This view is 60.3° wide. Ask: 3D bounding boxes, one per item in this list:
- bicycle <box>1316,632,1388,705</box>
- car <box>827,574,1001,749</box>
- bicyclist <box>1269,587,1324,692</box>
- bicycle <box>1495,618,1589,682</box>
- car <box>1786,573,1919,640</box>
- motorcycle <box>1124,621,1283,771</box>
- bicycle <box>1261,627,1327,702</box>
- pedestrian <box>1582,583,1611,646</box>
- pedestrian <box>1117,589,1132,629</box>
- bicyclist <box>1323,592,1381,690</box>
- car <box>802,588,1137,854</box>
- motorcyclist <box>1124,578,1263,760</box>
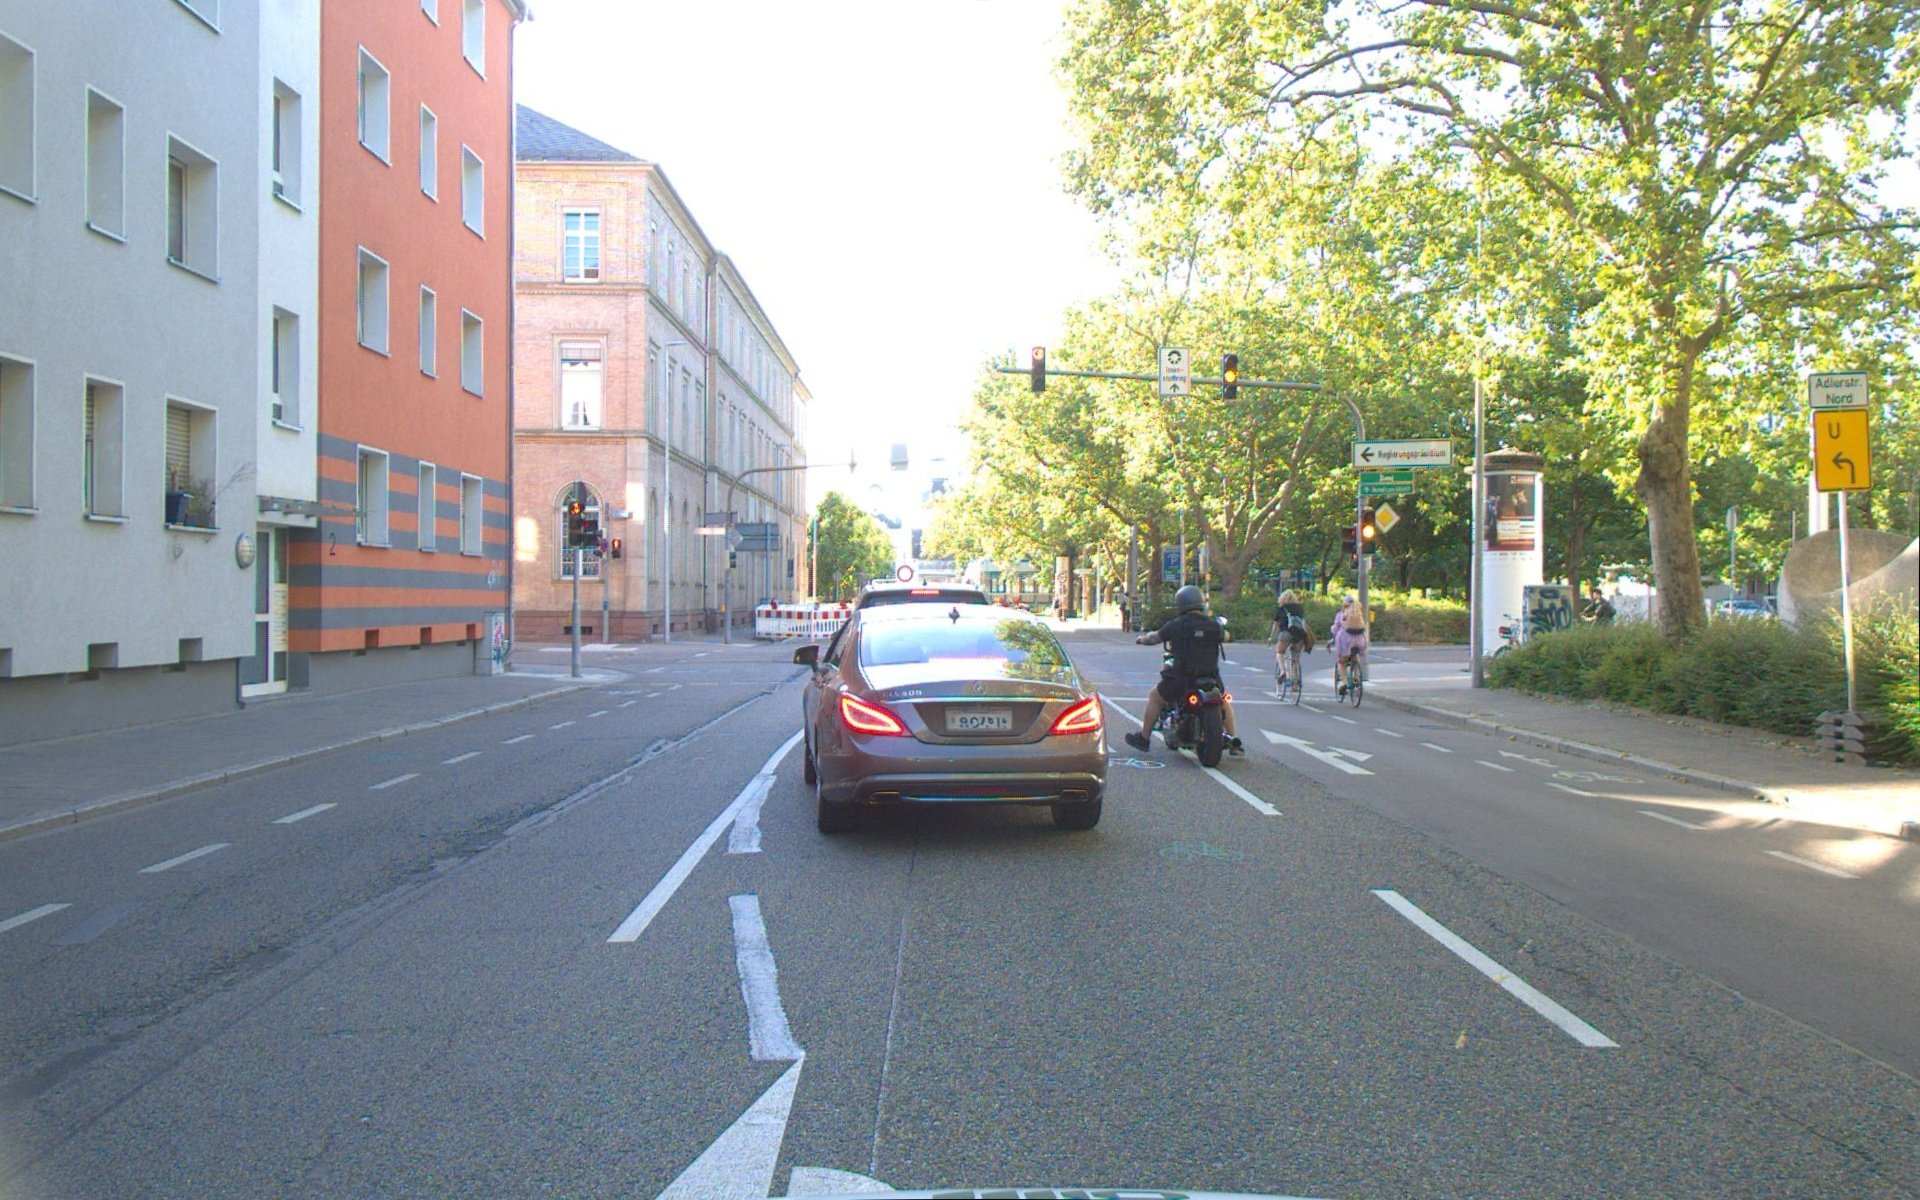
[{"bbox_3d":[5.886,1.008,24.902,0.588,1.002,1.881,2,0,-1],"label":"bicycle"},{"bbox_3d":[-0.505,0.584,17.663,1.647,1.653,3.839,0,0,-2],"label":"car"},{"bbox_3d":[5.070,0.578,24.981,0.598,1.542,0.889,2,0,-1],"label":"bicyclist"},{"bbox_3d":[9.700,0.832,27.598,1.387,1.055,0.538,0,0,-5],"label":"bicycle"},{"bbox_3d":[25.631,0.182,46.431,3.912,1.815,2.001,0,0,4],"label":"car"},{"bbox_3d":[2.214,0.837,15.456,0.987,1.225,2.664,0,0,-2],"label":"motorcycle"},{"bbox_3d":[5.057,0.966,25.096,0.598,1.044,1.731,2,0,-1],"label":"bicycle"},{"bbox_3d":[18.686,0.418,48.537,0.607,1.815,0.630,0,0,1],"label":"pedestrian"},{"bbox_3d":[7.123,0.386,71.623,0.548,1.707,0.564,0,0,-1],"label":"pedestrian"},{"bbox_3d":[5.902,0.604,24.933,0.588,1.426,0.931,2,0,-1],"label":"bicyclist"},{"bbox_3d":[-0.138,0.680,11.633,1.787,1.502,4.346,0,0,-7],"label":"car"},{"bbox_3d":[2.168,0.620,15.518,1.091,1.641,1.201,0,0,-3],"label":"motorcyclist"}]
